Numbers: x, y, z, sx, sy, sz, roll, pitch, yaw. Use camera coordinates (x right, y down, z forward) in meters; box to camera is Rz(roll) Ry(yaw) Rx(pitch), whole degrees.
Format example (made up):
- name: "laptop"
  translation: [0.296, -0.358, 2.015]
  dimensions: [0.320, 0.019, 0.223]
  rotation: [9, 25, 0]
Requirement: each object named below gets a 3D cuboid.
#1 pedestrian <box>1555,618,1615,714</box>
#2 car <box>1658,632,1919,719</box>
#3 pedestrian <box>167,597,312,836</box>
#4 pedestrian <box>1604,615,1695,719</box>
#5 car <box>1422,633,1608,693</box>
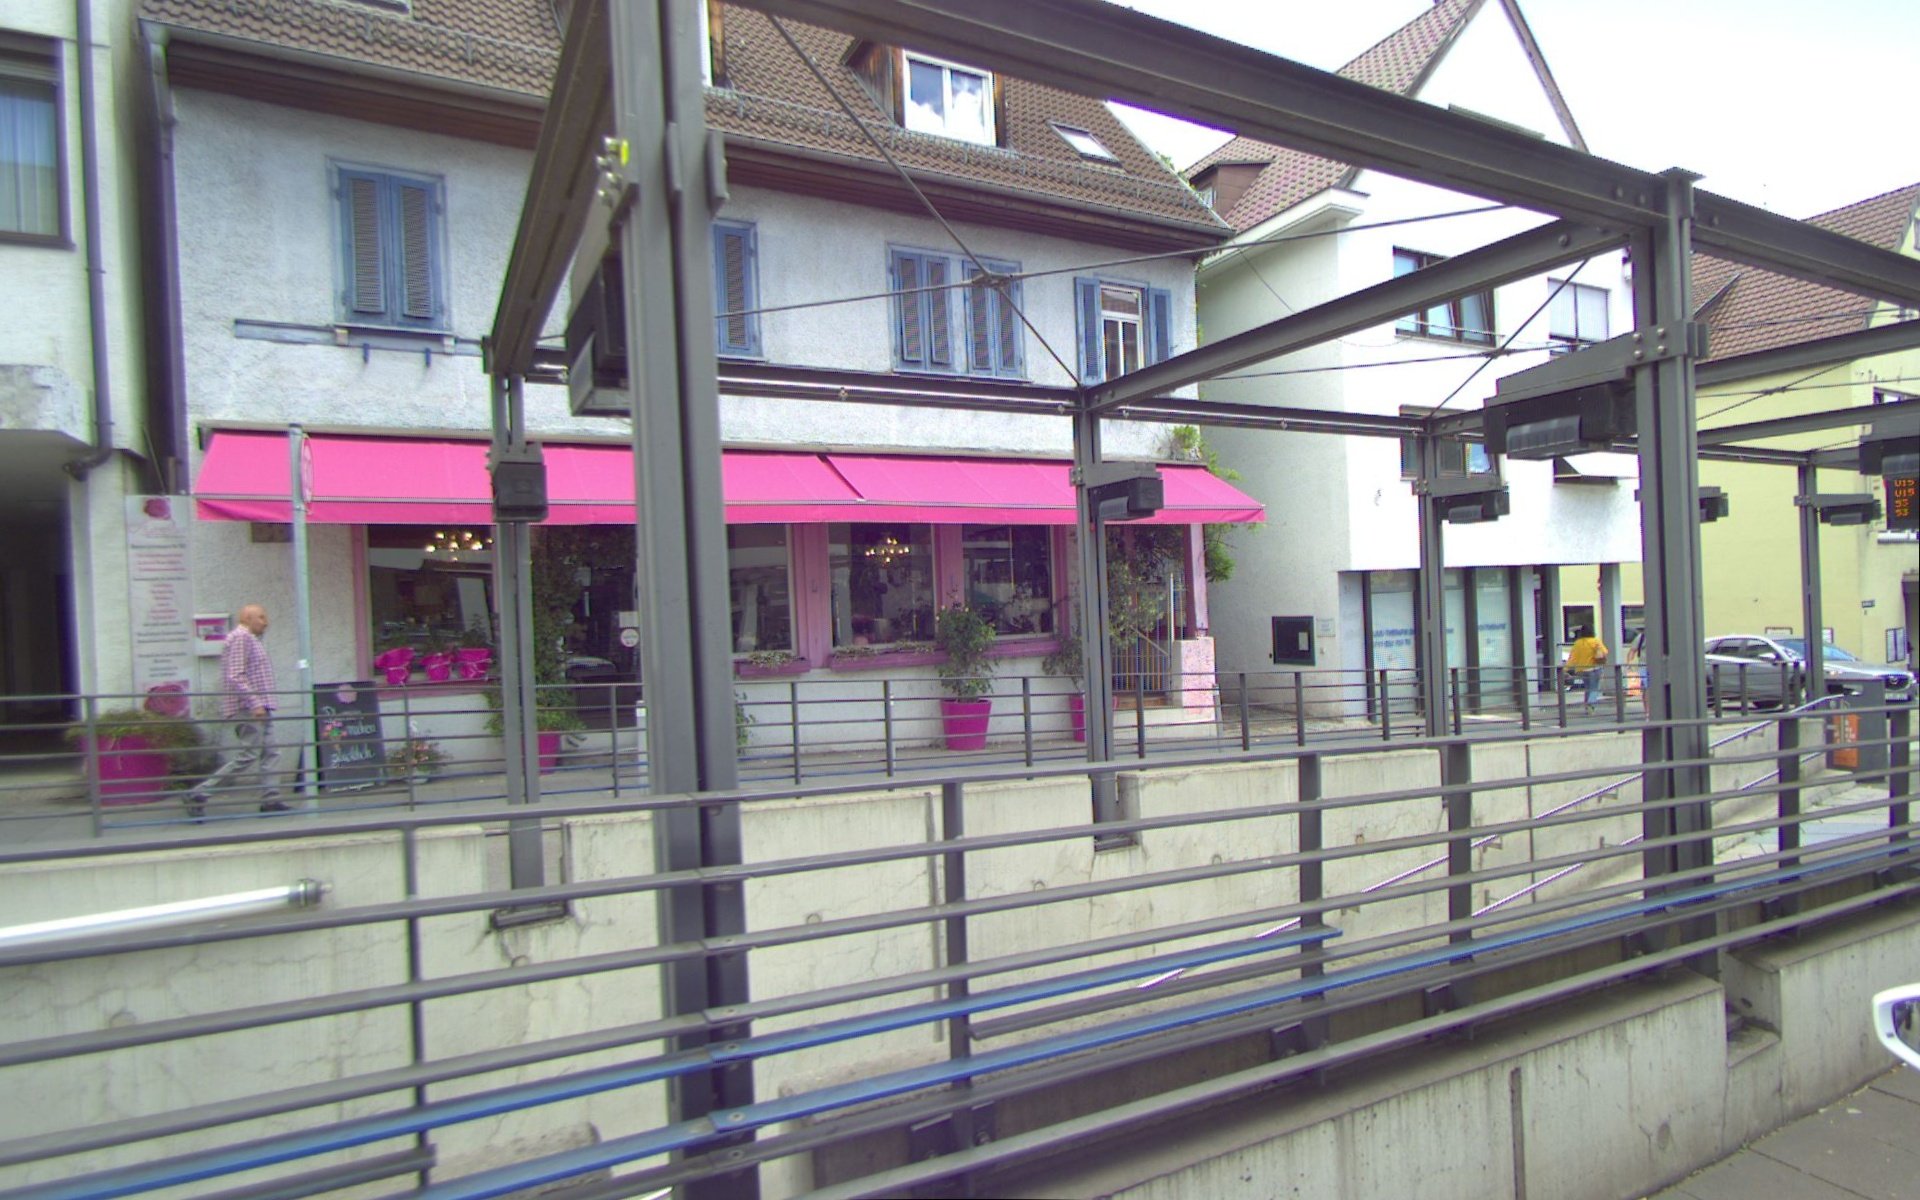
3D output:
- name: "pedestrian"
  translation: [11.809, 1.234, 18.980]
  dimensions: [0.827, 1.761, 0.633]
  rotation: [1, -3, -33]
- name: "car"
  translation: [17.459, 1.495, 21.169]
  dimensions: [1.936, 1.642, 4.345]
  rotation: [0, -2, -13]
- name: "pedestrian"
  translation: [-5.659, 0.877, 7.940]
  dimensions: [0.814, 1.763, 0.691]
  rotation: [1, -2, -28]
- name: "pedestrian"
  translation: [12.394, 1.187, 18.069]
  dimensions: [0.971, 1.811, 0.917]
  rotation: [0, -2, -14]
- name: "car"
  translation: [15.775, 1.744, 28.700]
  dimensions: [1.903, 1.589, 4.315]
  rotation: [2, -3, -44]
